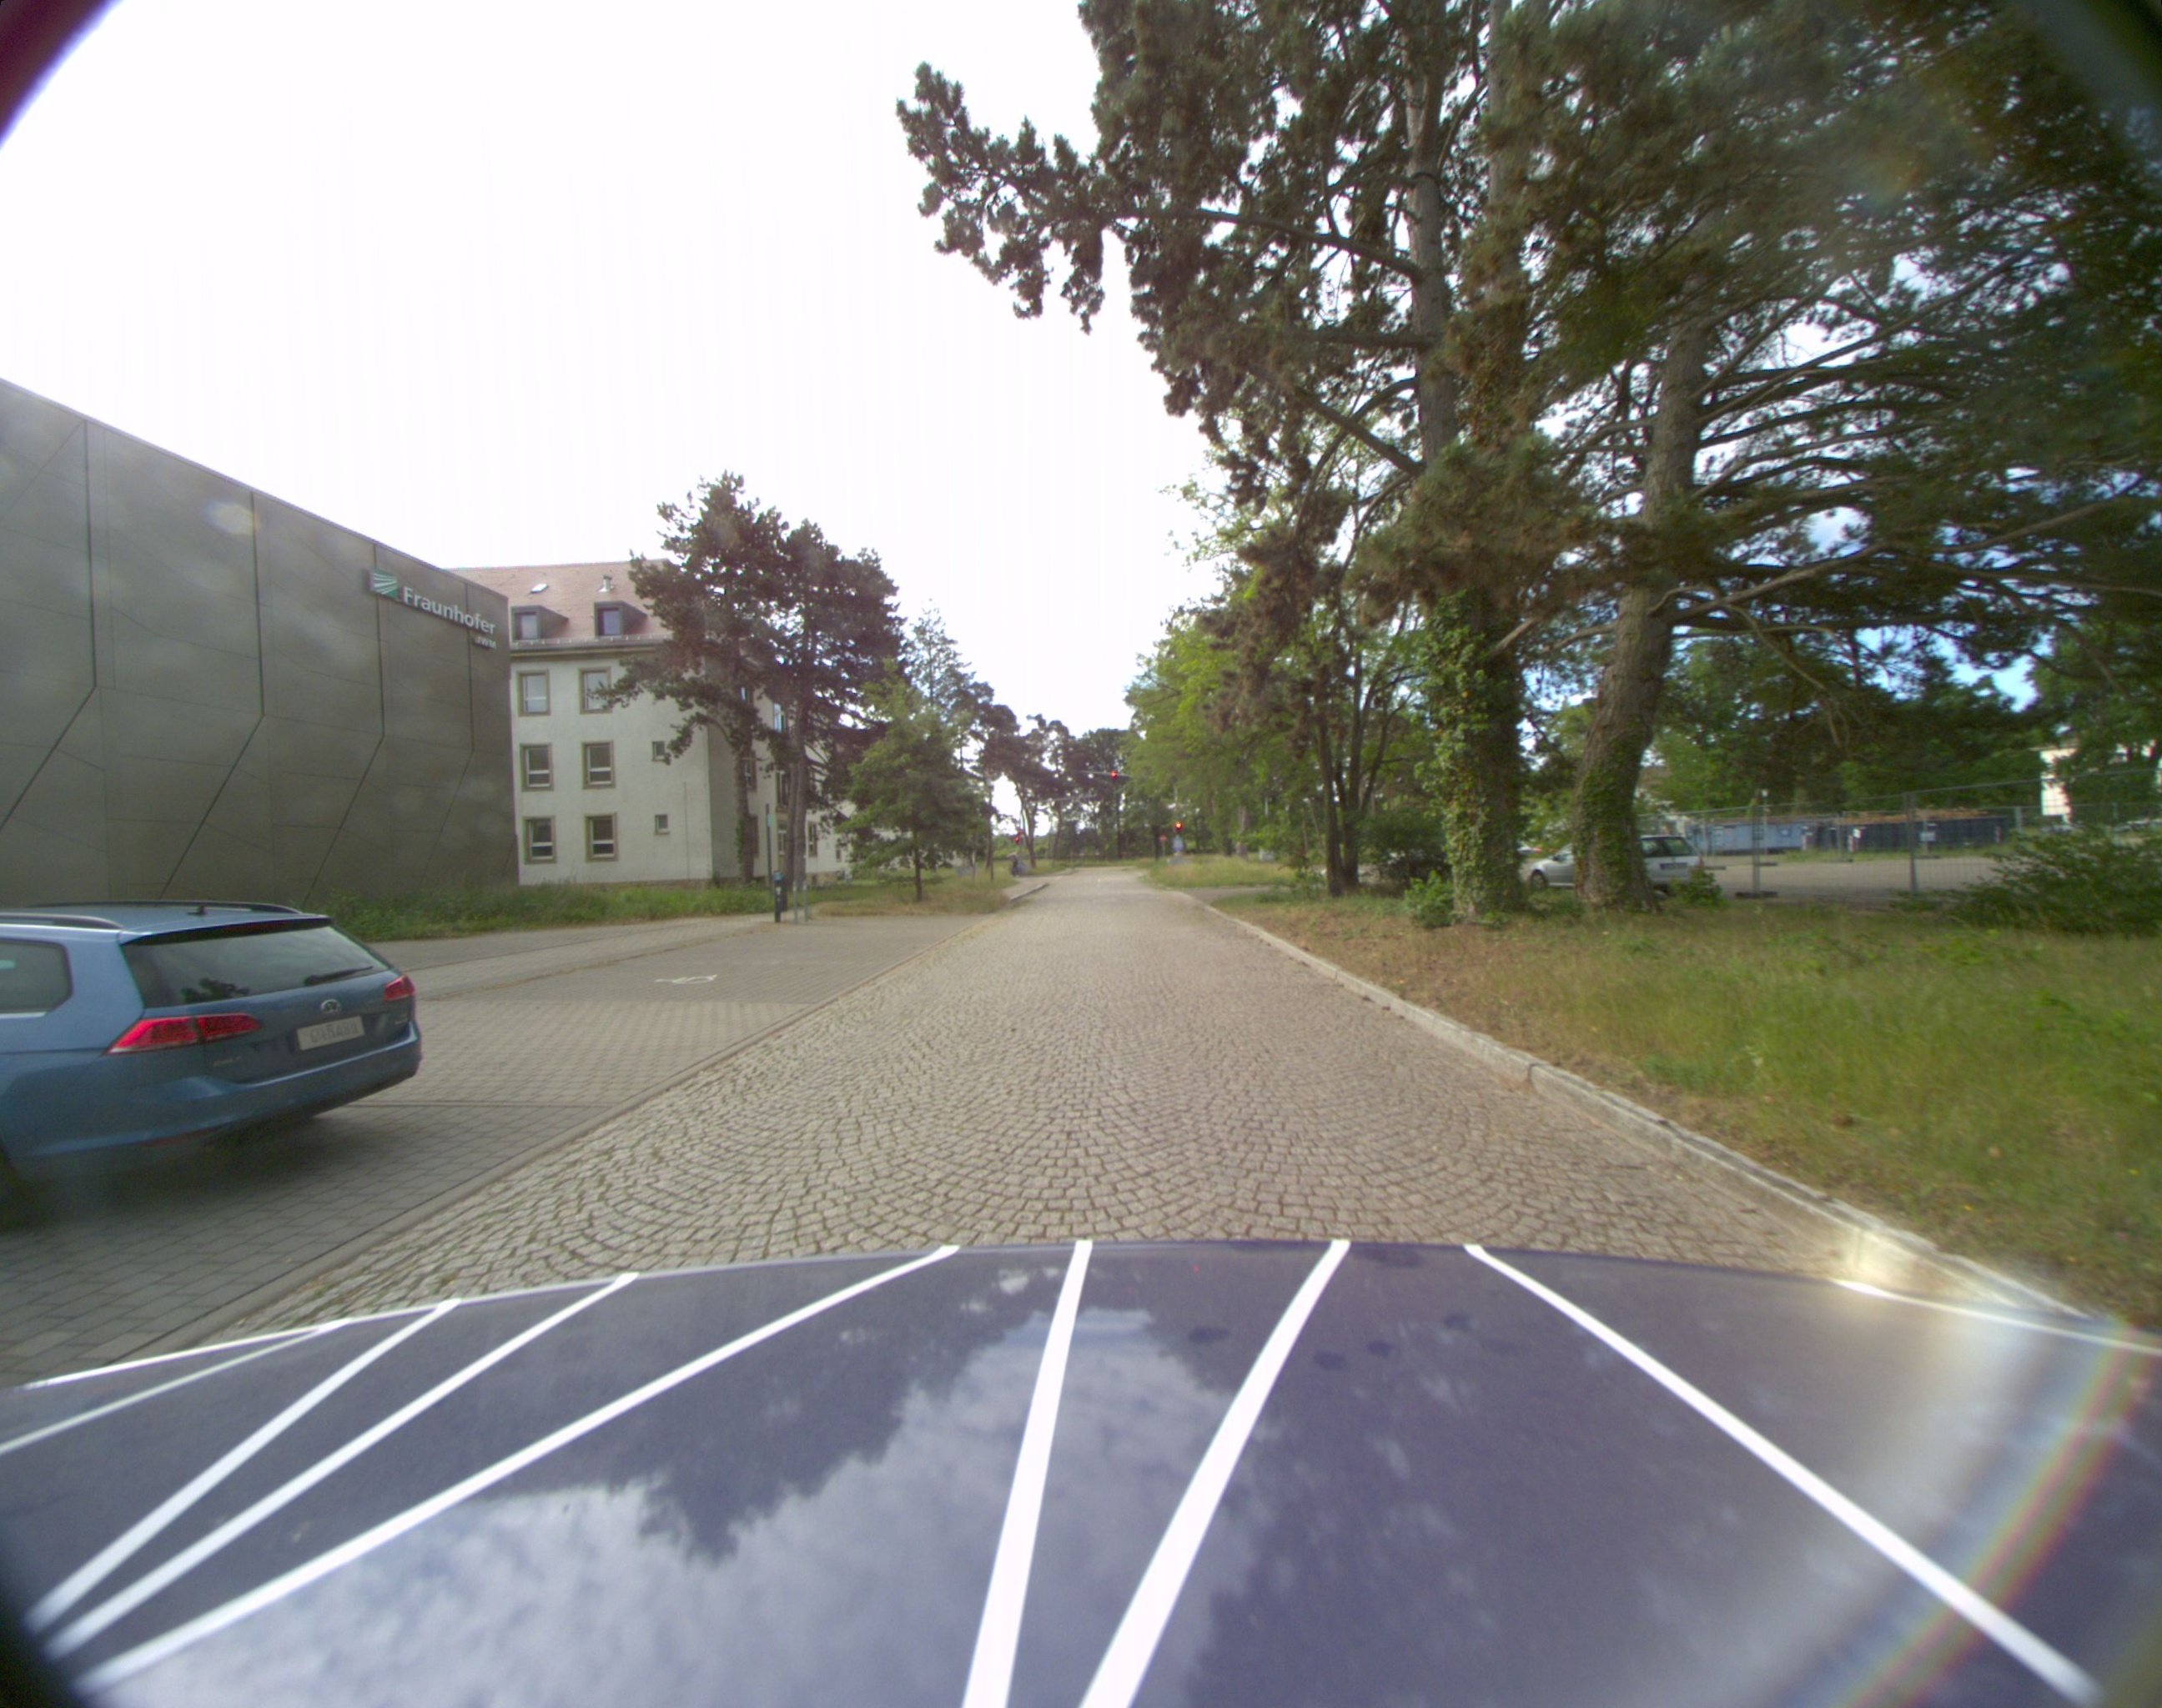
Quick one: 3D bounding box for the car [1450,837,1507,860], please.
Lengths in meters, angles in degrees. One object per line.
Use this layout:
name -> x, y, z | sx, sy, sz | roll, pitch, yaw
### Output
car -> 29.068, -0.392, 55.676 | 1.839, 1.460, 4.586 | -2, -1, 2

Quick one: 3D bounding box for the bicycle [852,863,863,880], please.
bicycle -> -18.878, 1.463, 64.202 | 0.482, 1.324, 1.837 | -2, 0, -4

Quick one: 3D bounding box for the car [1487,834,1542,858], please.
car -> 31.818, -0.537, 55.884 | 1.736, 1.512, 4.115 | -2, -2, 2

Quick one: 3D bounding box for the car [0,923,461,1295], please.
car -> -6.425, 1.198, 4.127 | 4.534, 1.435, 1.823 | 0, 0, -2

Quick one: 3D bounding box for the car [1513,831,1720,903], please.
car -> 12.519, 0.267, 18.180 | 1.720, 1.430, 4.466 | -2, 0, -1

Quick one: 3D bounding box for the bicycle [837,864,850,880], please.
bicycle -> -20.075, 1.523, 64.176 | 0.572, 1.324, 1.837 | -2, 0, -4

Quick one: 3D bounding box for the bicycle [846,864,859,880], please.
bicycle -> -19.309, 1.491, 64.223 | 0.572, 1.324, 1.837 | -2, 0, -4

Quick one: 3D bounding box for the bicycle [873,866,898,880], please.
bicycle -> -16.087, 1.541, 62.578 | 1.836, 1.079, 0.573 | -2, 2, 5

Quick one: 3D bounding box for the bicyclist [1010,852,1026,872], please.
bicyclist -> -5.414, 0.681, 65.729 | 0.919, 1.626, 0.962 | -3, 1, -43

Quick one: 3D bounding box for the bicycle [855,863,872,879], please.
bicycle -> -18.381, 1.431, 64.180 | 0.572, 1.324, 1.839 | -2, 0, 9

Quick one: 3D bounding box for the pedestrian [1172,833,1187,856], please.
pedestrian -> 6.711, -0.647, 51.835 | 0.883, 1.509, 0.822 | -2, 1, 16

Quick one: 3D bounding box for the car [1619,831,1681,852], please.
car -> 49.563, -1.054, 66.291 | 1.840, 1.564, 4.585 | -2, -2, -1

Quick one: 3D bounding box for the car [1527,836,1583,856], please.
car -> 41.184, -0.649, 66.160 | 1.840, 1.512, 4.585 | -2, -2, -1

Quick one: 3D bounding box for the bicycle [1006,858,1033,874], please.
bicycle -> -5.321, 1.048, 65.769 | 2.168, 1.268, 0.962 | -3, 0, -43

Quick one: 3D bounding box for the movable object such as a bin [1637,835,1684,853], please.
movable object such as a bin -> 32.585, -0.548, 42.758 | 1.041, 0.927, 1.935 | -2, 0, -5
